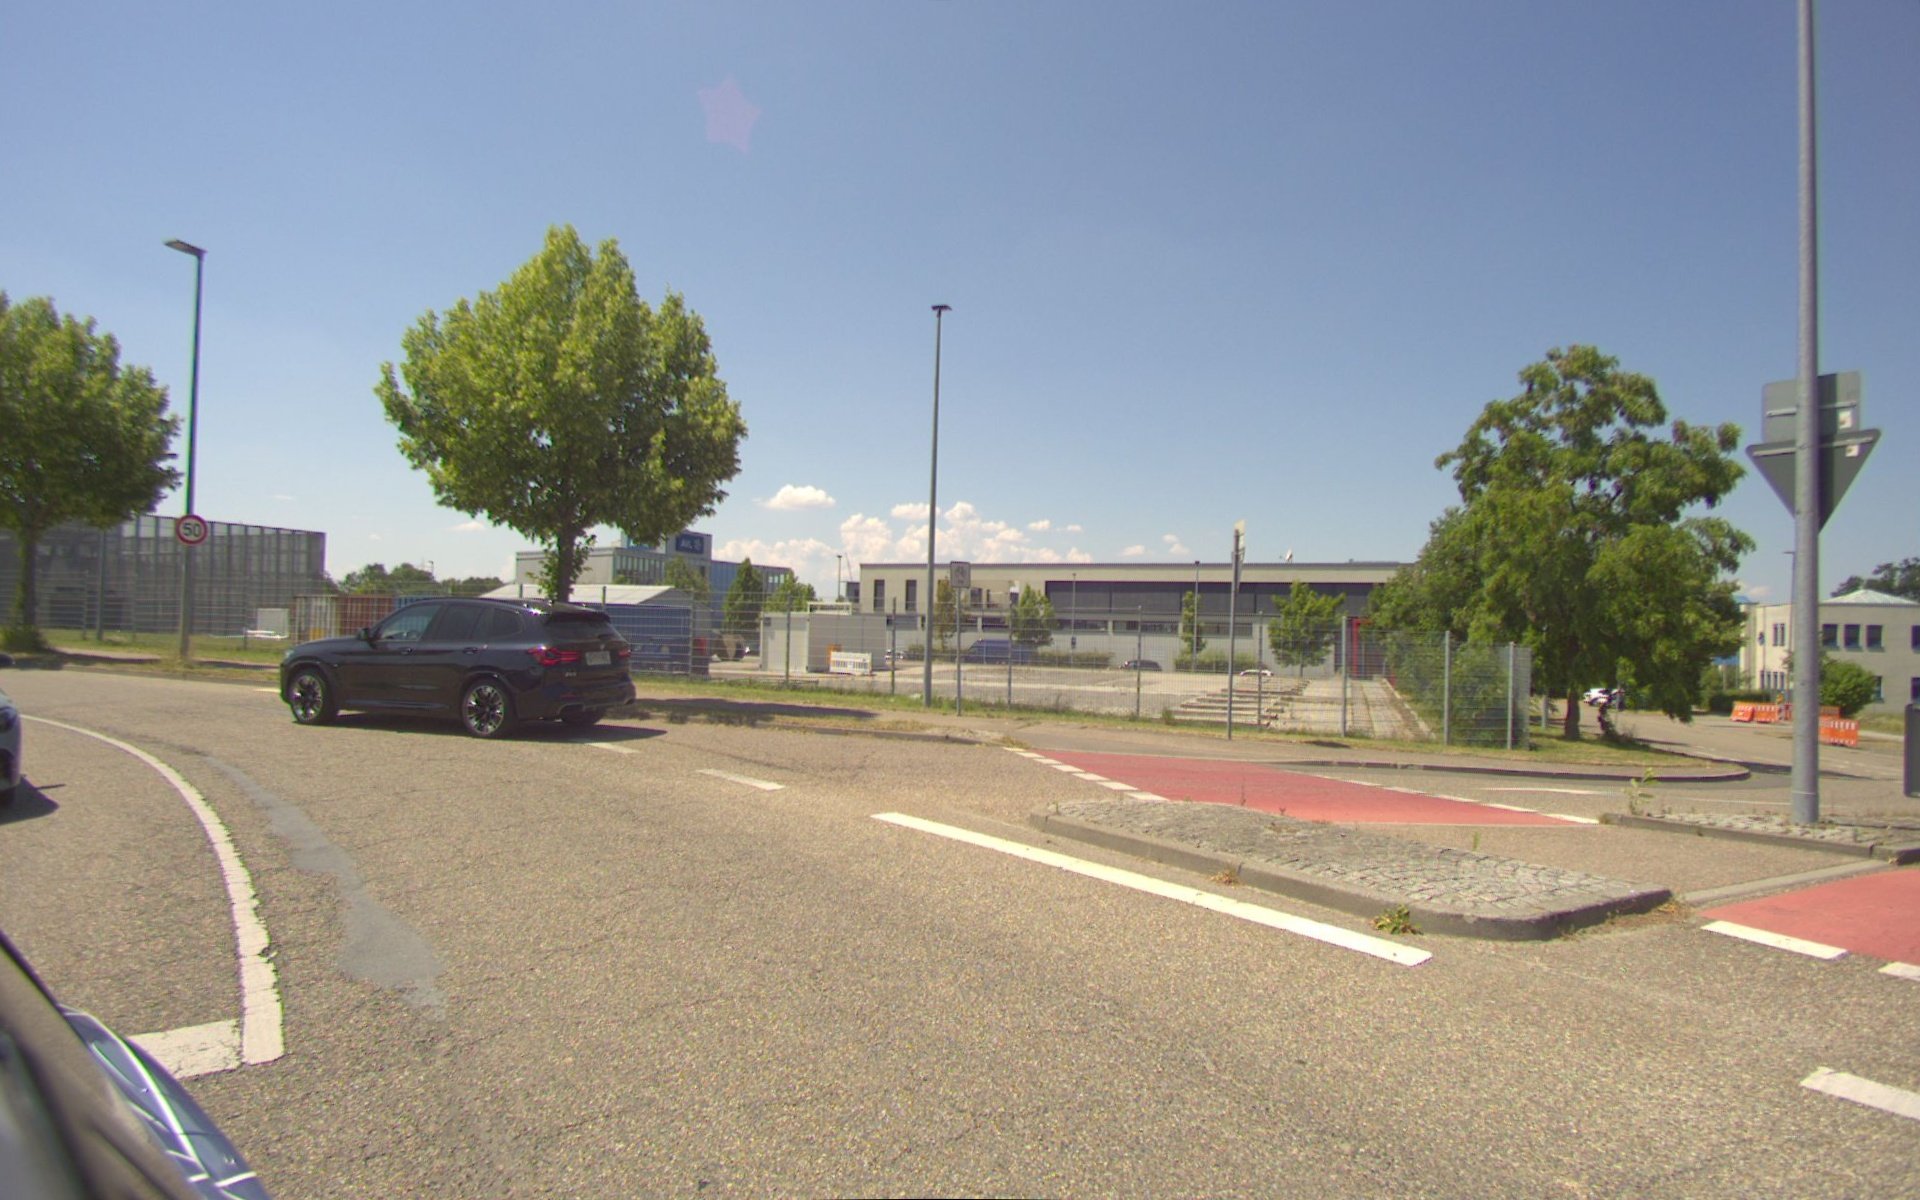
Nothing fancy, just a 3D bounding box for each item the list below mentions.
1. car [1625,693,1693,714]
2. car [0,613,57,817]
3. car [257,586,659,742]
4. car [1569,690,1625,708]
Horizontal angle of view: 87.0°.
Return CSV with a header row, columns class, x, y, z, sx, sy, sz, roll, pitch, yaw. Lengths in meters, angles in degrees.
class,x,y,z,sx,sy,sz,roll,pitch,yaw
car,50.403,7.451,73.080,3.660,1.365,1.635,-1,-4,18
car,-8.806,0.781,7.924,4.628,1.394,1.874,0,-2,39
car,-6.402,0.759,12.997,4.561,1.647,1.859,2,-3,18
car,51.870,8.074,82.495,3.498,1.365,1.529,-1,-4,18
